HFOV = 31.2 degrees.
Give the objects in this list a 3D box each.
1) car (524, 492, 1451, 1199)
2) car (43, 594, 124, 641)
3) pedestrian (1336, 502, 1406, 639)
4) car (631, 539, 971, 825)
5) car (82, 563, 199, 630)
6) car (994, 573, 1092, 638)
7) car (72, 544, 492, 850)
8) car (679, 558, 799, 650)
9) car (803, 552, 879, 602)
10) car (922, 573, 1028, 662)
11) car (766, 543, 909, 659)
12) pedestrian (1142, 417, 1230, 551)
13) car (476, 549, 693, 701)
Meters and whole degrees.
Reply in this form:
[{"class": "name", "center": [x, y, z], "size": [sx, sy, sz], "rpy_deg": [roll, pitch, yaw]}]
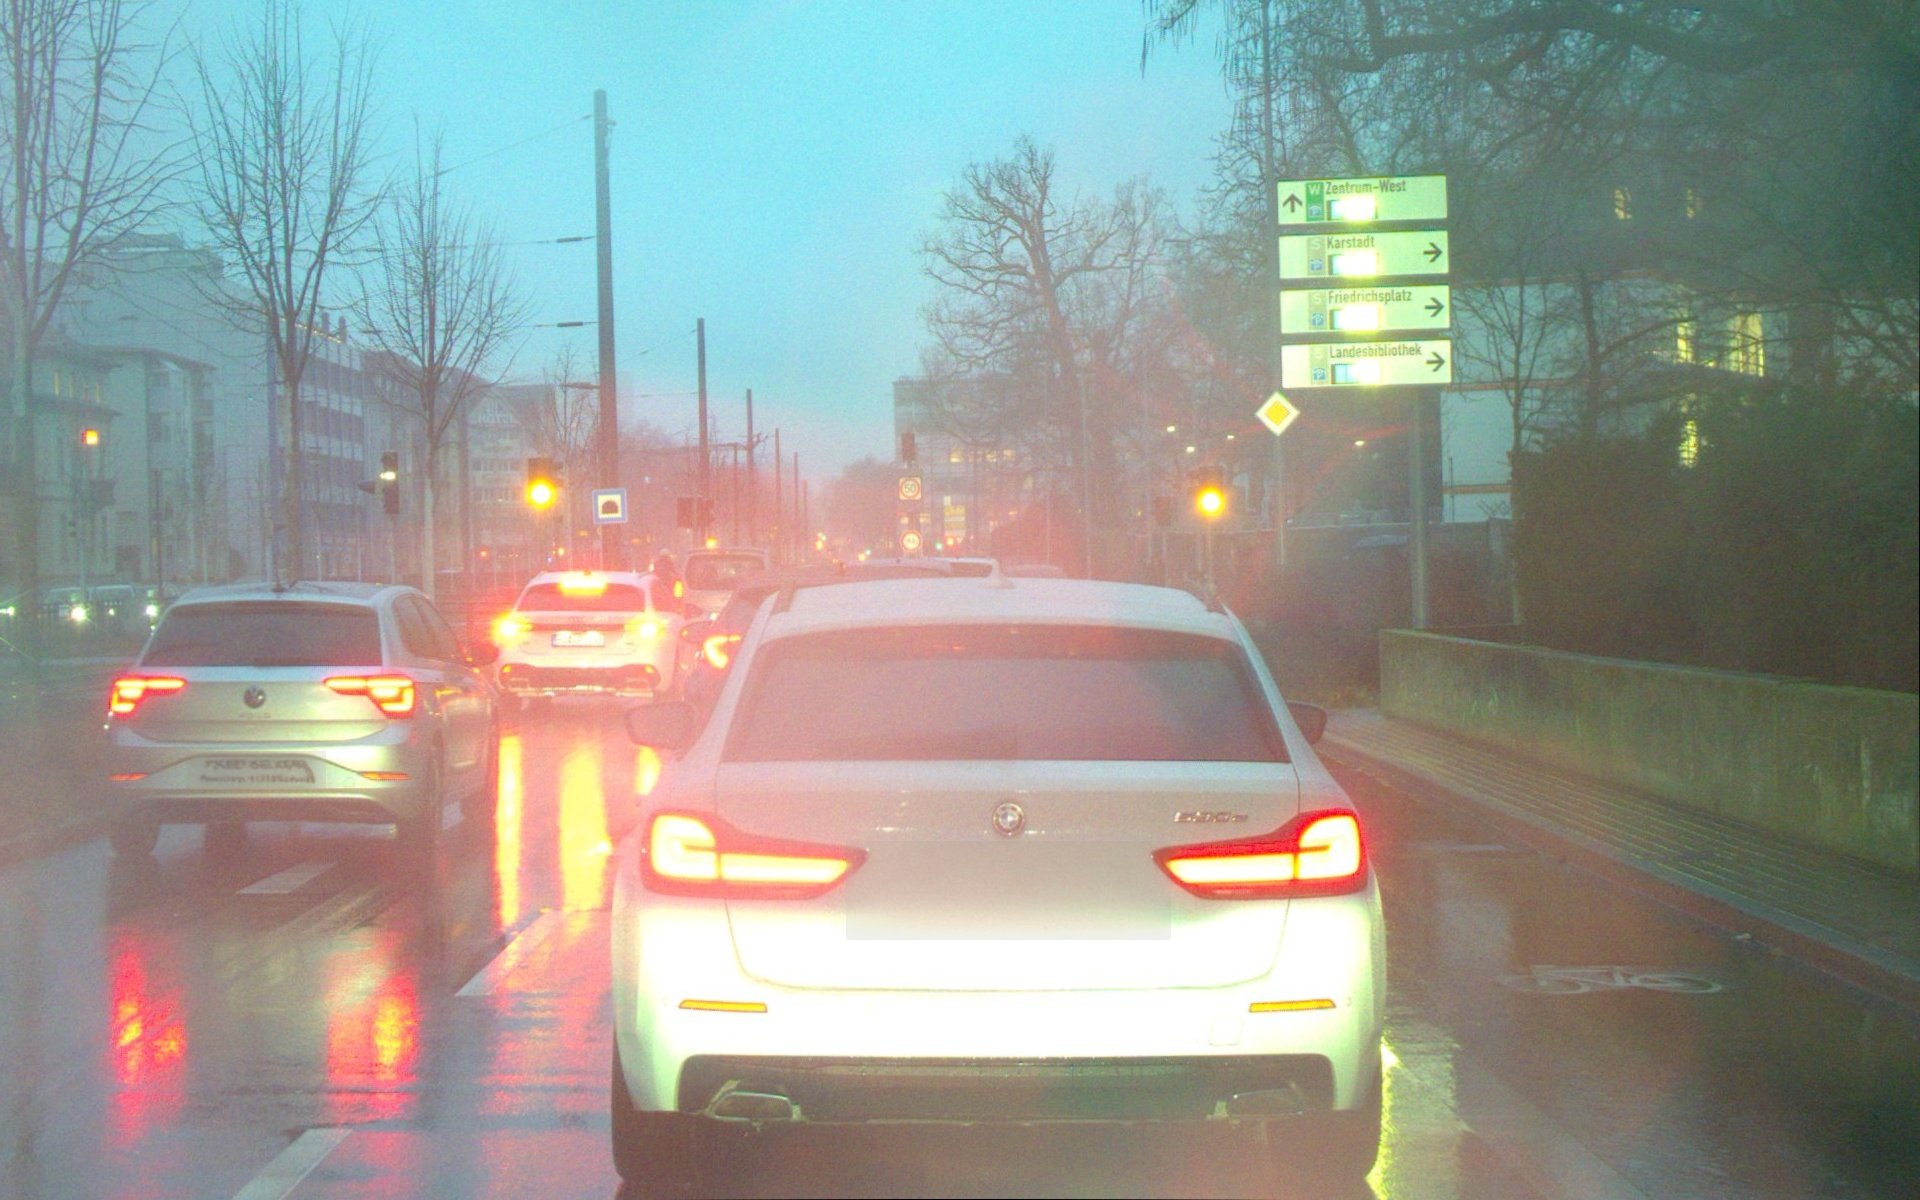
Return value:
[{"class": "car", "center": [0.032, 0.538, 9.495], "size": [1.862, 1.550, 4.938], "rpy_deg": [-1, 1, -1]}, {"class": "car", "center": [-25.180, 0.481, 98.873], "size": [1.690, 1.273, 4.149], "rpy_deg": [-1, 1, -7]}, {"class": "pedestrian", "center": [6.122, -0.442, 51.300], "size": [0.959, 2.007, 1.007], "rpy_deg": [-1, 1, 4]}, {"class": "car", "center": [-0.874, 0.422, 20.412], "size": [1.800, 1.505, 3.895], "rpy_deg": [-1, 1, -1]}, {"class": "car", "center": [-20.072, -0.095, 84.326], "size": [1.993, 1.597, 4.000], "rpy_deg": [1, 0, -2]}, {"class": "car", "center": [1.890, 0.110, 79.290], "size": [1.737, 1.415, 3.704], "rpy_deg": [-1, 1, -6]}, {"class": "car", "center": [-3.662, 0.457, 19.201], "size": [1.693, 1.528, 4.000], "rpy_deg": [0, 1, -2]}, {"class": "car", "center": [-3.661, 0.038, 57.538], "size": [1.737, 1.415, 4.394], "rpy_deg": [-1, 1, -1]}, {"class": "car", "center": [-3.177, -0.615, 92.222], "size": [1.930, 1.284, 4.000], "rpy_deg": [1, 0, -1]}, {"class": "car", "center": [0.235, 0.274, 59.314], "size": [1.737, 1.415, 3.703], "rpy_deg": [-1, 1, -1]}, {"class": "car", "center": [-1.554, -0.015, 44.639], "size": [1.737, 1.415, 3.703], "rpy_deg": [-1, 1, -1]}, {"class": "pedestrian", "center": [3.457, -1.775, 52.701], "size": [0.958, 2.007, 1.008], "rpy_deg": [-1, 1, -23]}, {"class": "car", "center": [-3.882, 0.209, 36.219], "size": [1.799, 1.461, 4.586], "rpy_deg": [-1, 1, -1]}]
